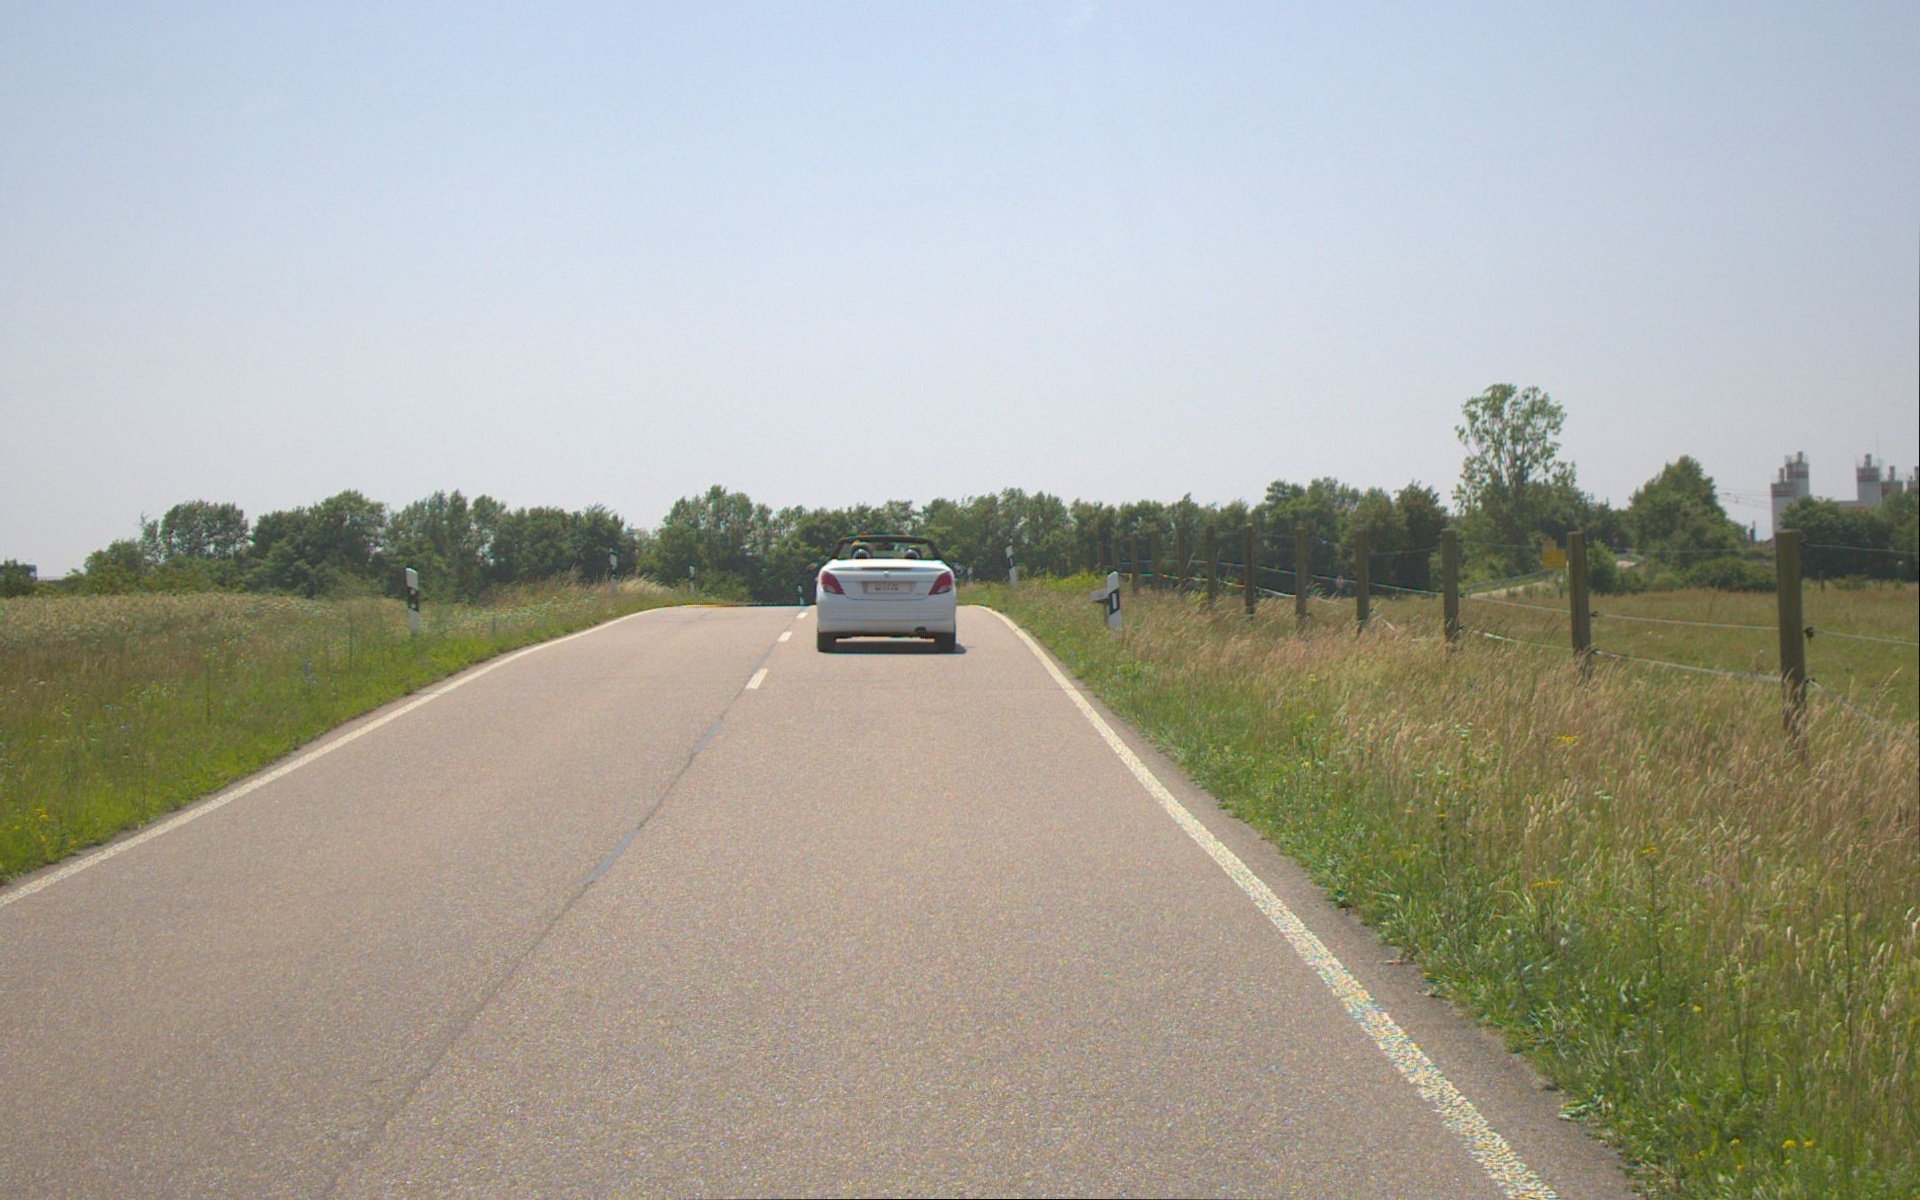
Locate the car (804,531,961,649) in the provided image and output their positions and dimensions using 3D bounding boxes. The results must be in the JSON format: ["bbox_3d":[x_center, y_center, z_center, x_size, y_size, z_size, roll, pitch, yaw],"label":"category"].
[{"bbox_3d":[-0.979,-0.159,42.636,1.851,1.374,4.001,0,1,-2],"label":"car"}]
